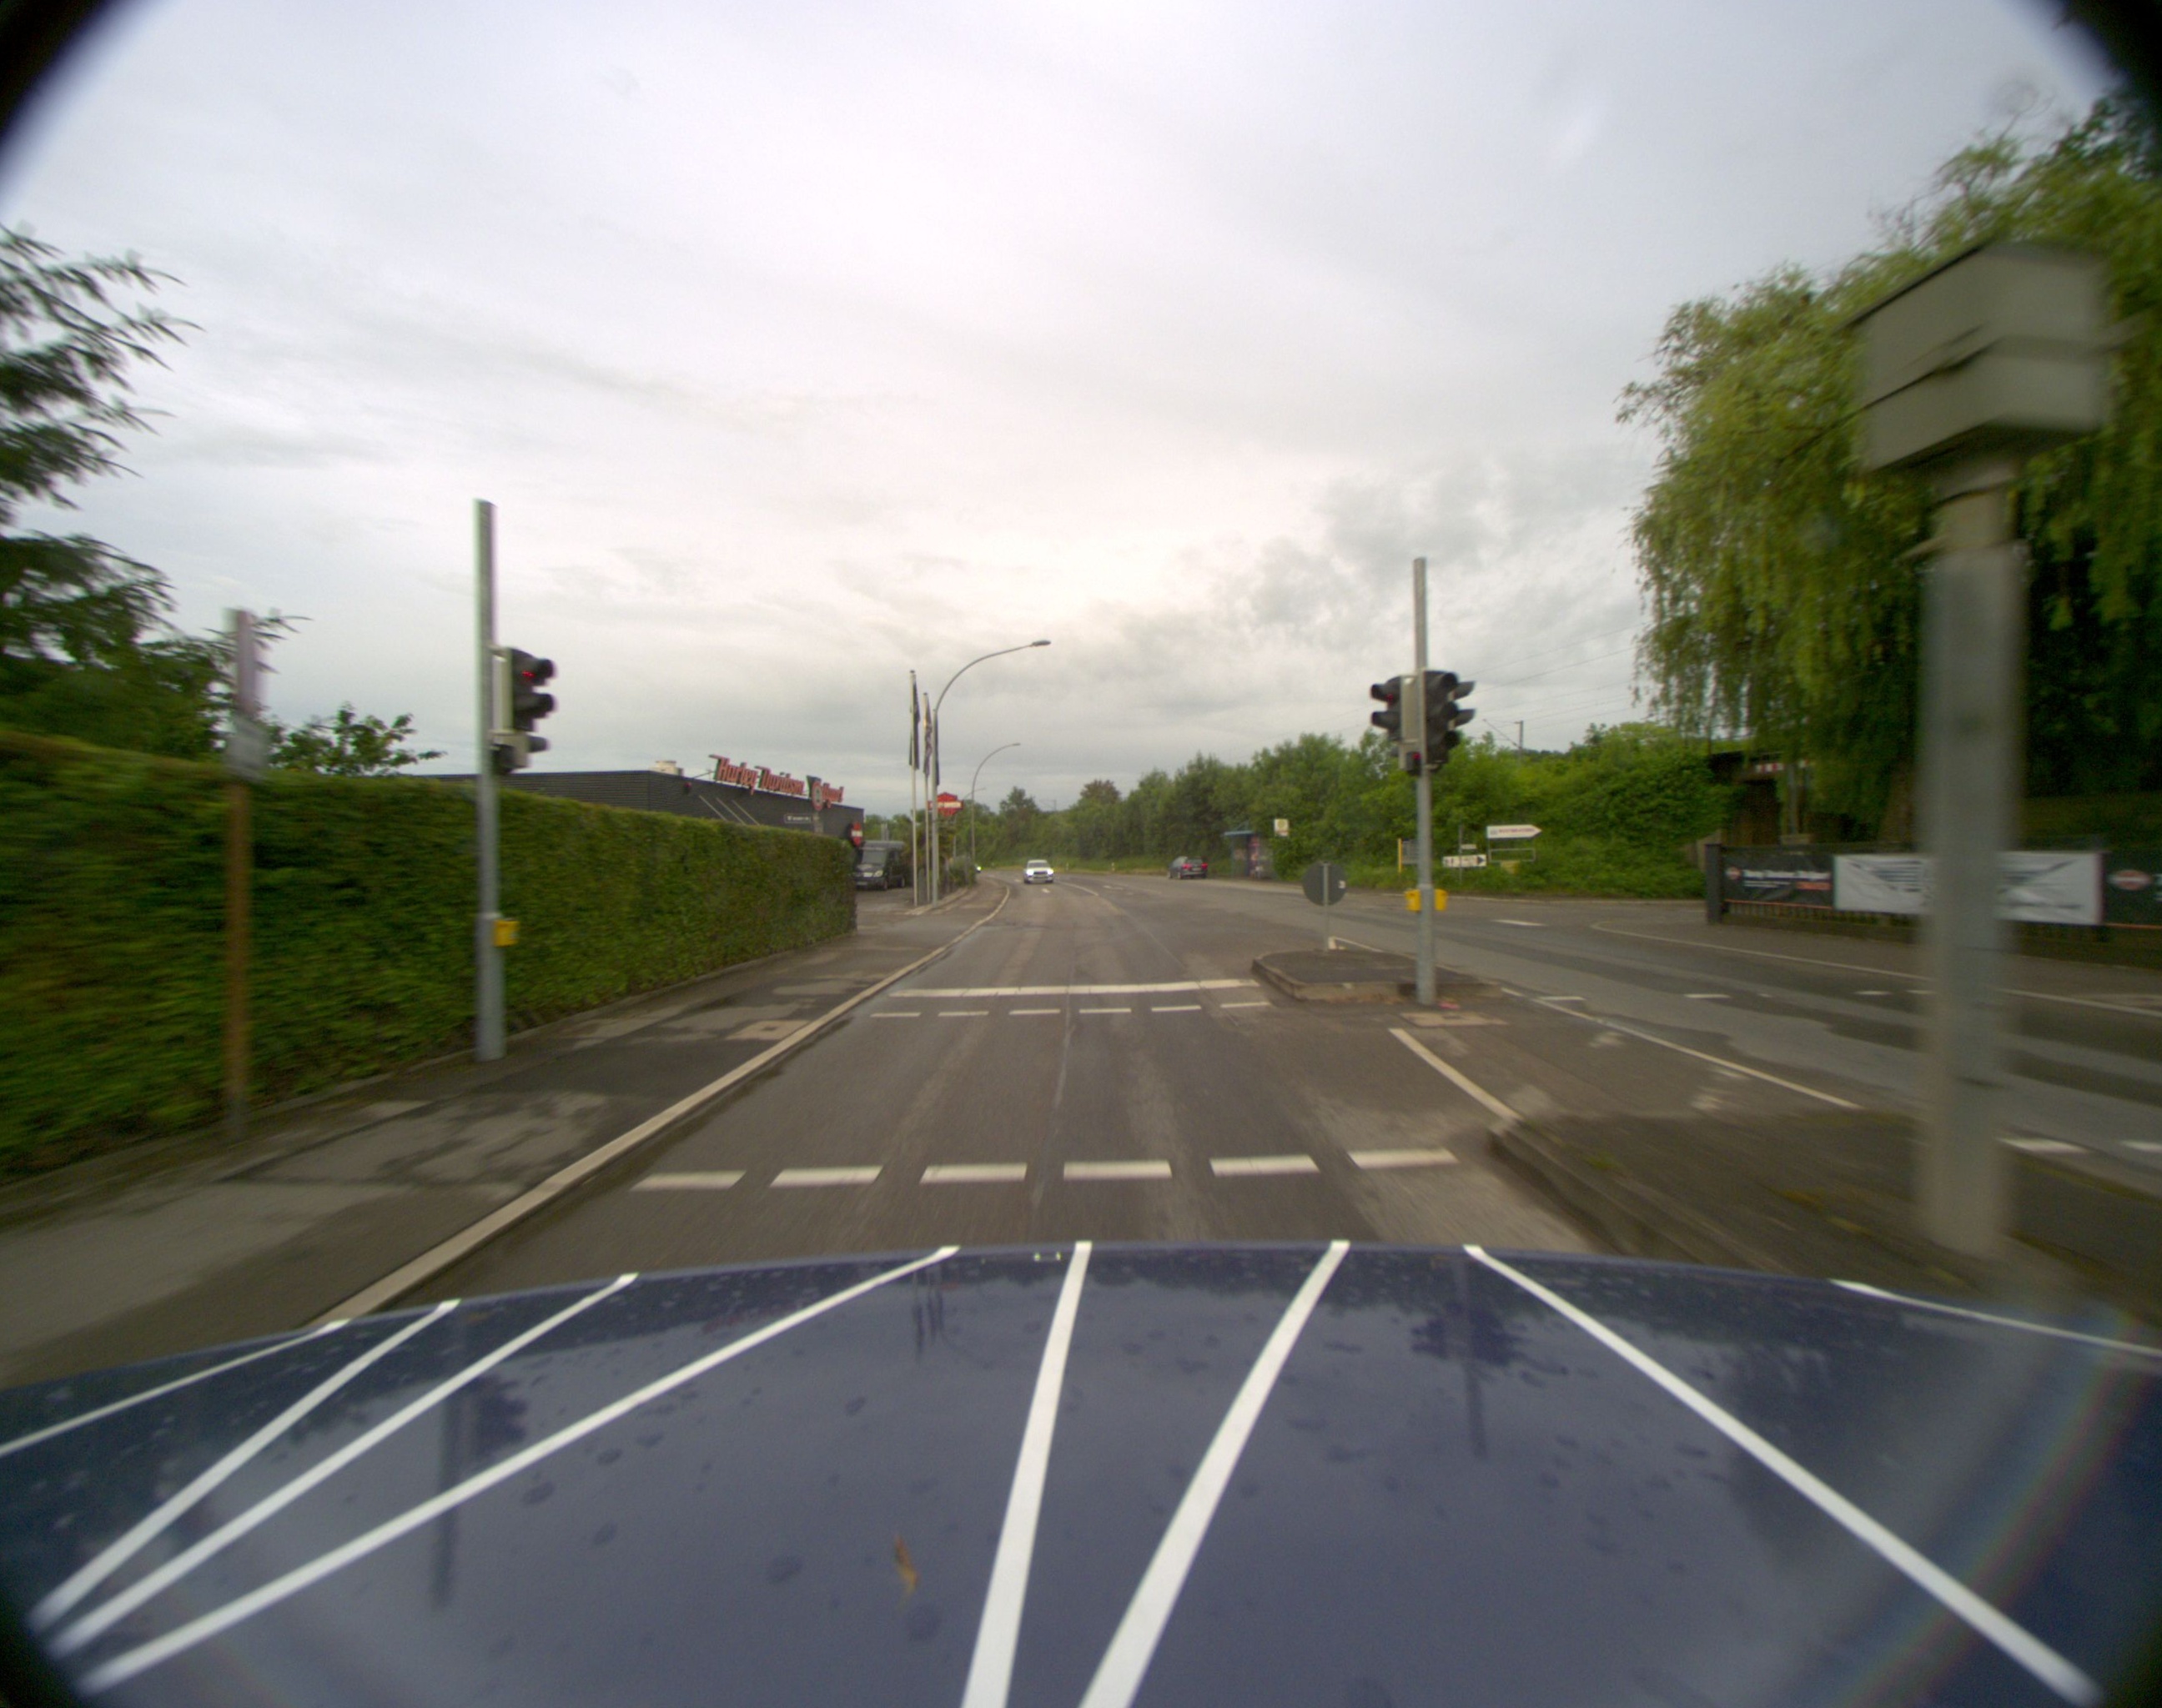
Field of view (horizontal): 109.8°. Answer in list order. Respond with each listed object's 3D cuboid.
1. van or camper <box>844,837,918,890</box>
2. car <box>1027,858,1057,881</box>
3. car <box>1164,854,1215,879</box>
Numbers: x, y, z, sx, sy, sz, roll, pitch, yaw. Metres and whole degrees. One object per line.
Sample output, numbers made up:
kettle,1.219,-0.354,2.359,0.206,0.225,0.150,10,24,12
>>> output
van or camper,-10.615,0.470,40.910,2.046,2.578,6.590,-1,0,1
car,-2.857,1.067,54.794,1.849,1.565,3.824,-1,0,-7
car,7.201,0.775,50.825,2.000,1.465,4.696,-4,1,-10
